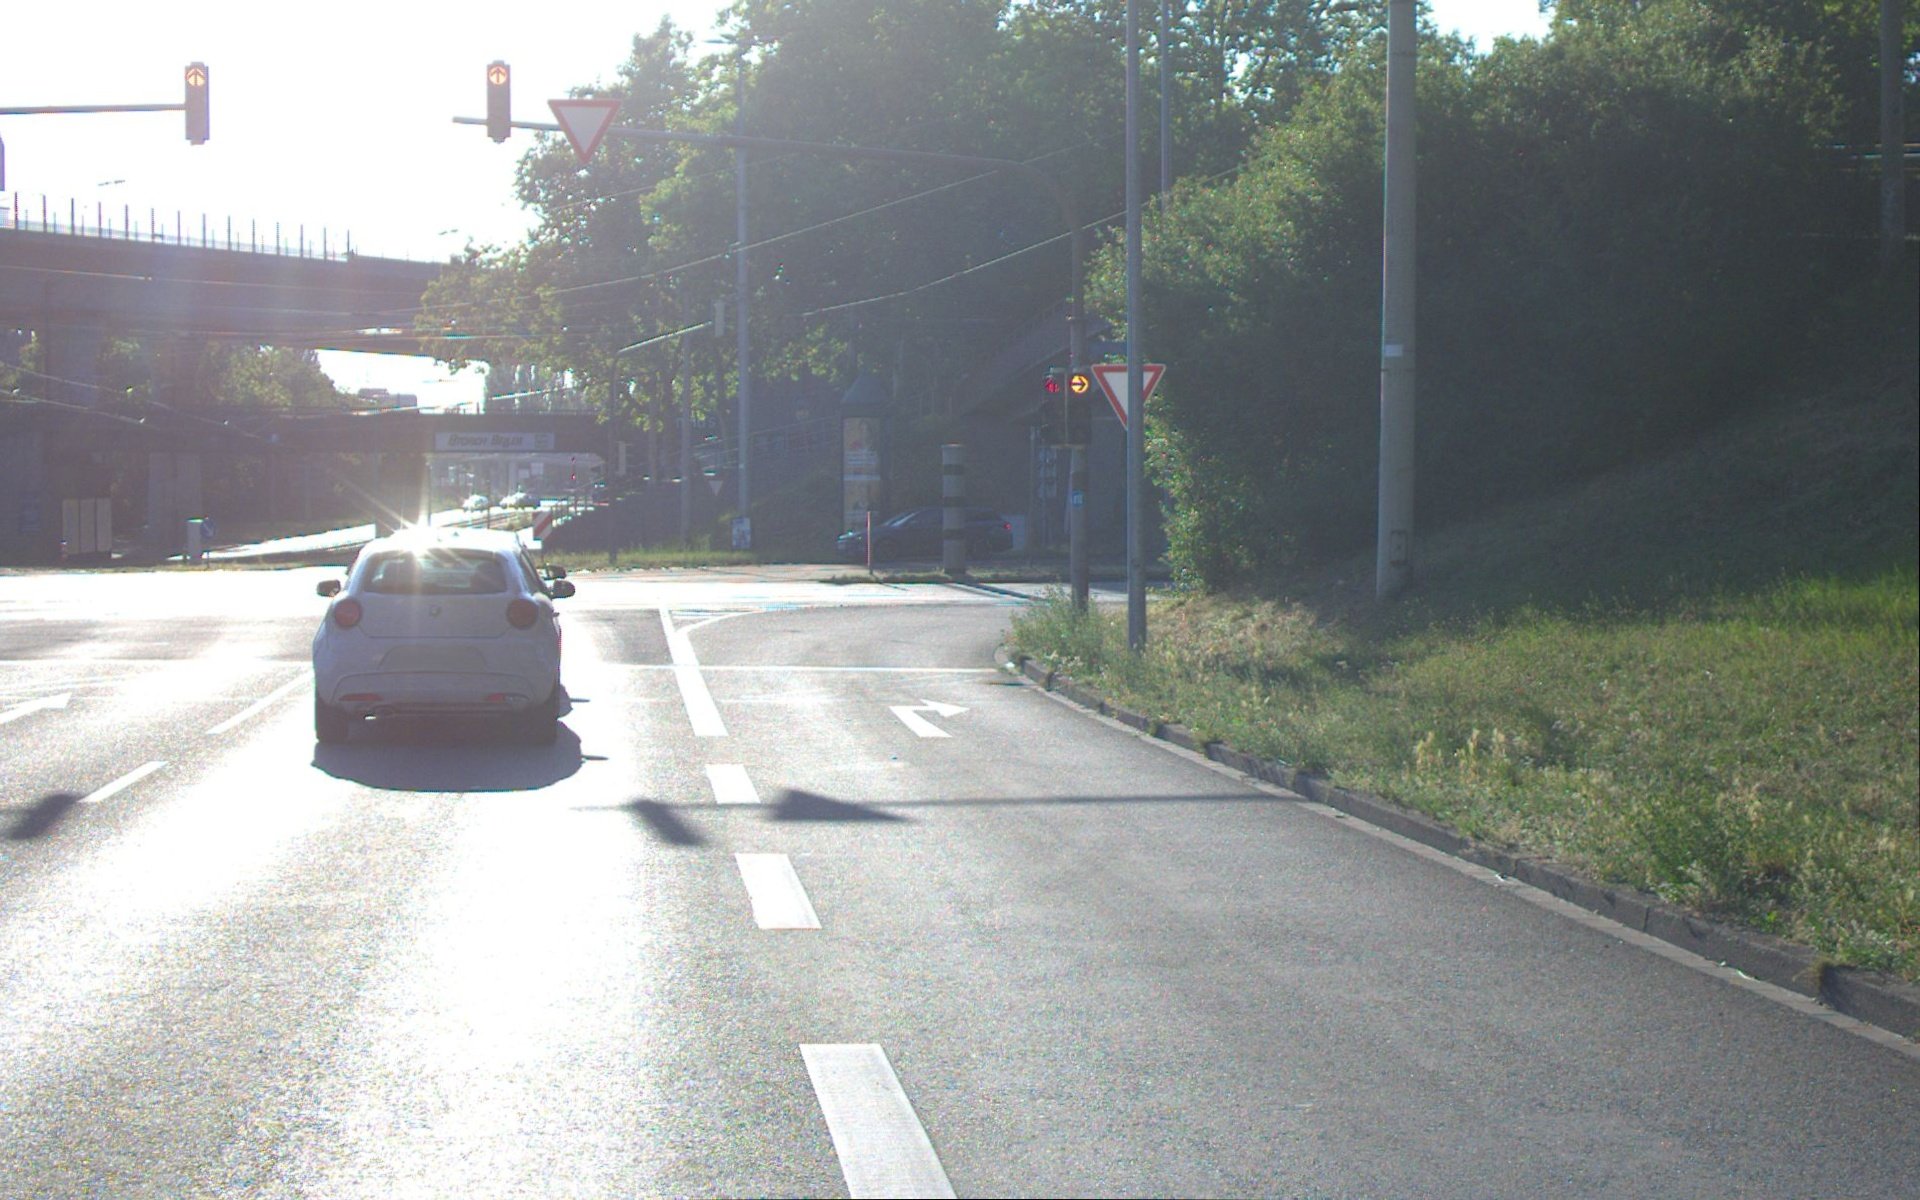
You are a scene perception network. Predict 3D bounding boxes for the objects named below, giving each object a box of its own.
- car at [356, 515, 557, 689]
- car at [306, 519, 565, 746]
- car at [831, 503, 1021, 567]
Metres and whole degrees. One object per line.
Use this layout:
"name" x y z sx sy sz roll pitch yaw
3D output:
"car" -4.656 -0.034 31.839 1.713 1.460 4.208 0 2 -8
"car" -3.812 0.175 25.500 1.736 1.500 4.001 0 2 -7
"car" -0.871 -1.679 88.735 4.575 1.569 1.694 0 2 -22
